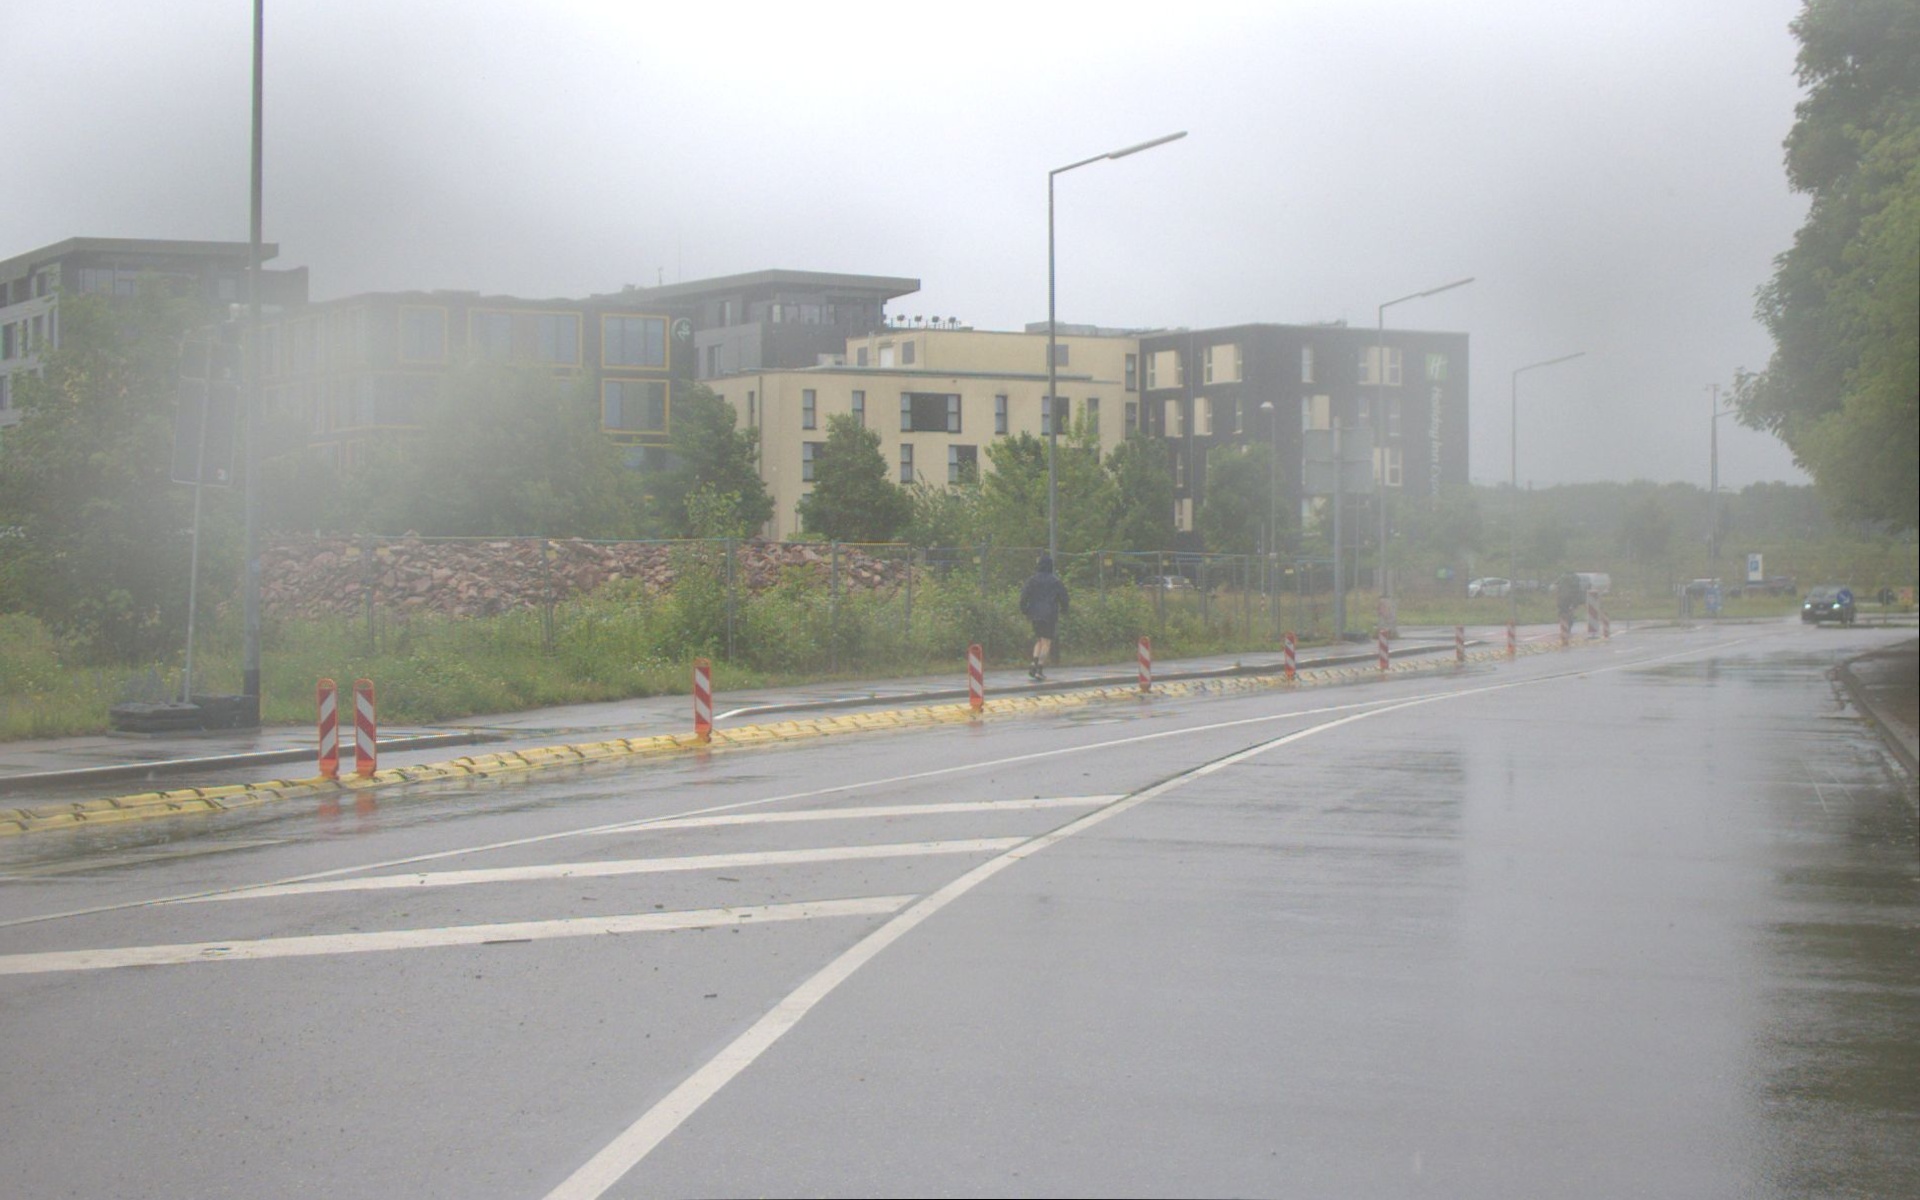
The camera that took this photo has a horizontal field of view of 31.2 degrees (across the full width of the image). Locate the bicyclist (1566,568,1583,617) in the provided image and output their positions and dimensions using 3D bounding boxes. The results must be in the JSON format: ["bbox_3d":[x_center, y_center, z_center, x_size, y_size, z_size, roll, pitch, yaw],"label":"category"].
[{"bbox_3d":[18.000,-0.215,100.635,0.444,1.399,0.550,0,-2,14],"label":"bicyclist"}]

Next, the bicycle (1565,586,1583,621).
[{"bbox_3d":[17.971,0.110,100.575,0.427,1.016,1.611,1,0,12],"label":"bicycle"}]

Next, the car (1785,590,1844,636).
[{"bbox_3d":[33.434,0.511,134.420,1.995,1.766,3.997,0,0,17],"label":"car"}]

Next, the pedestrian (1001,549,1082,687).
[{"bbox_3d":[1.213,0.281,51.025,0.847,2.007,1.130,0,-2,21],"label":"pedestrian"}]
